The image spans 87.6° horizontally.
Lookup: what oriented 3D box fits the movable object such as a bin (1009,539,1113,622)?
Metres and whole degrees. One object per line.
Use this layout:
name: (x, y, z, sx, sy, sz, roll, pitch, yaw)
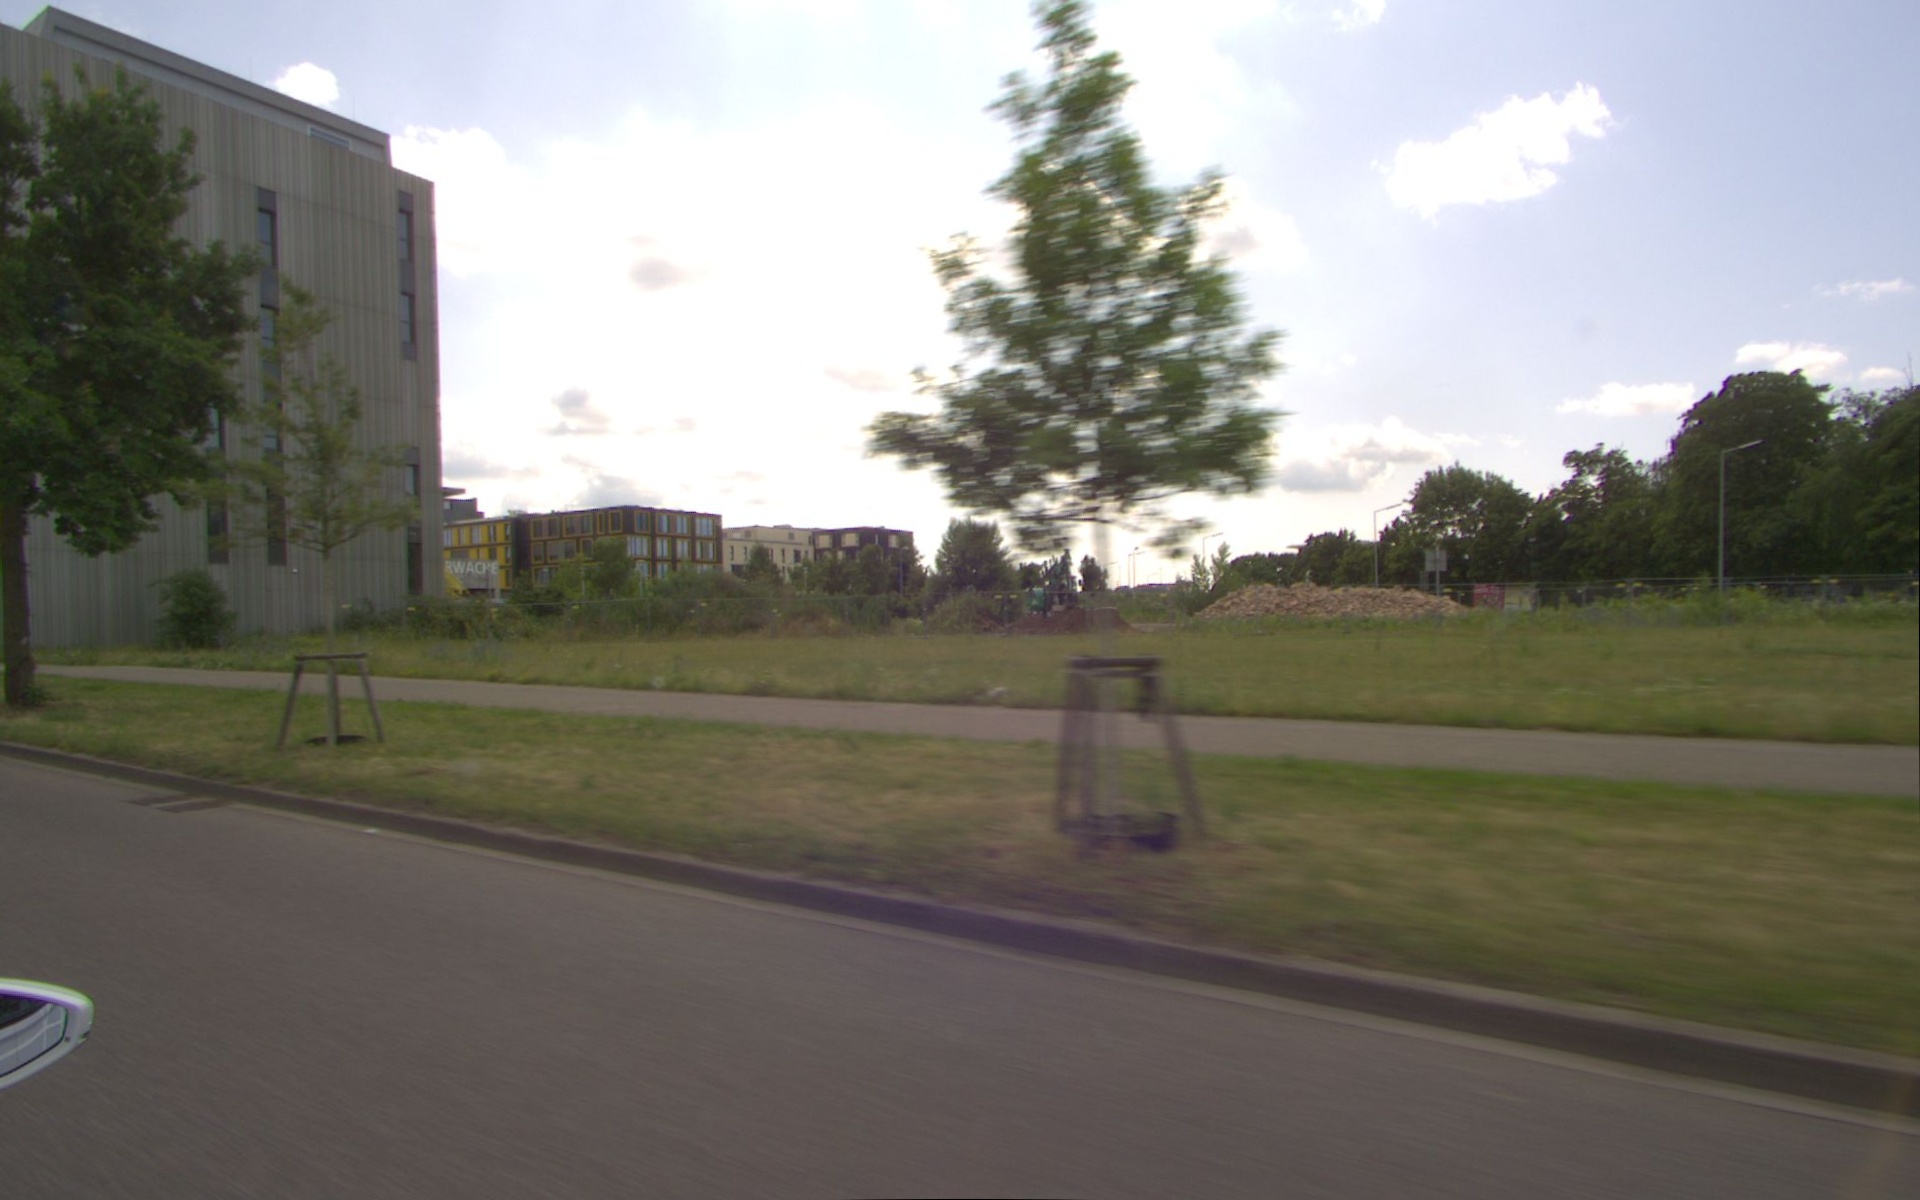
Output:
movable object such as a bin: (5.237, -0.902, 53.478, 2.994, 3.900, 7.612, -1, -3, -15)
